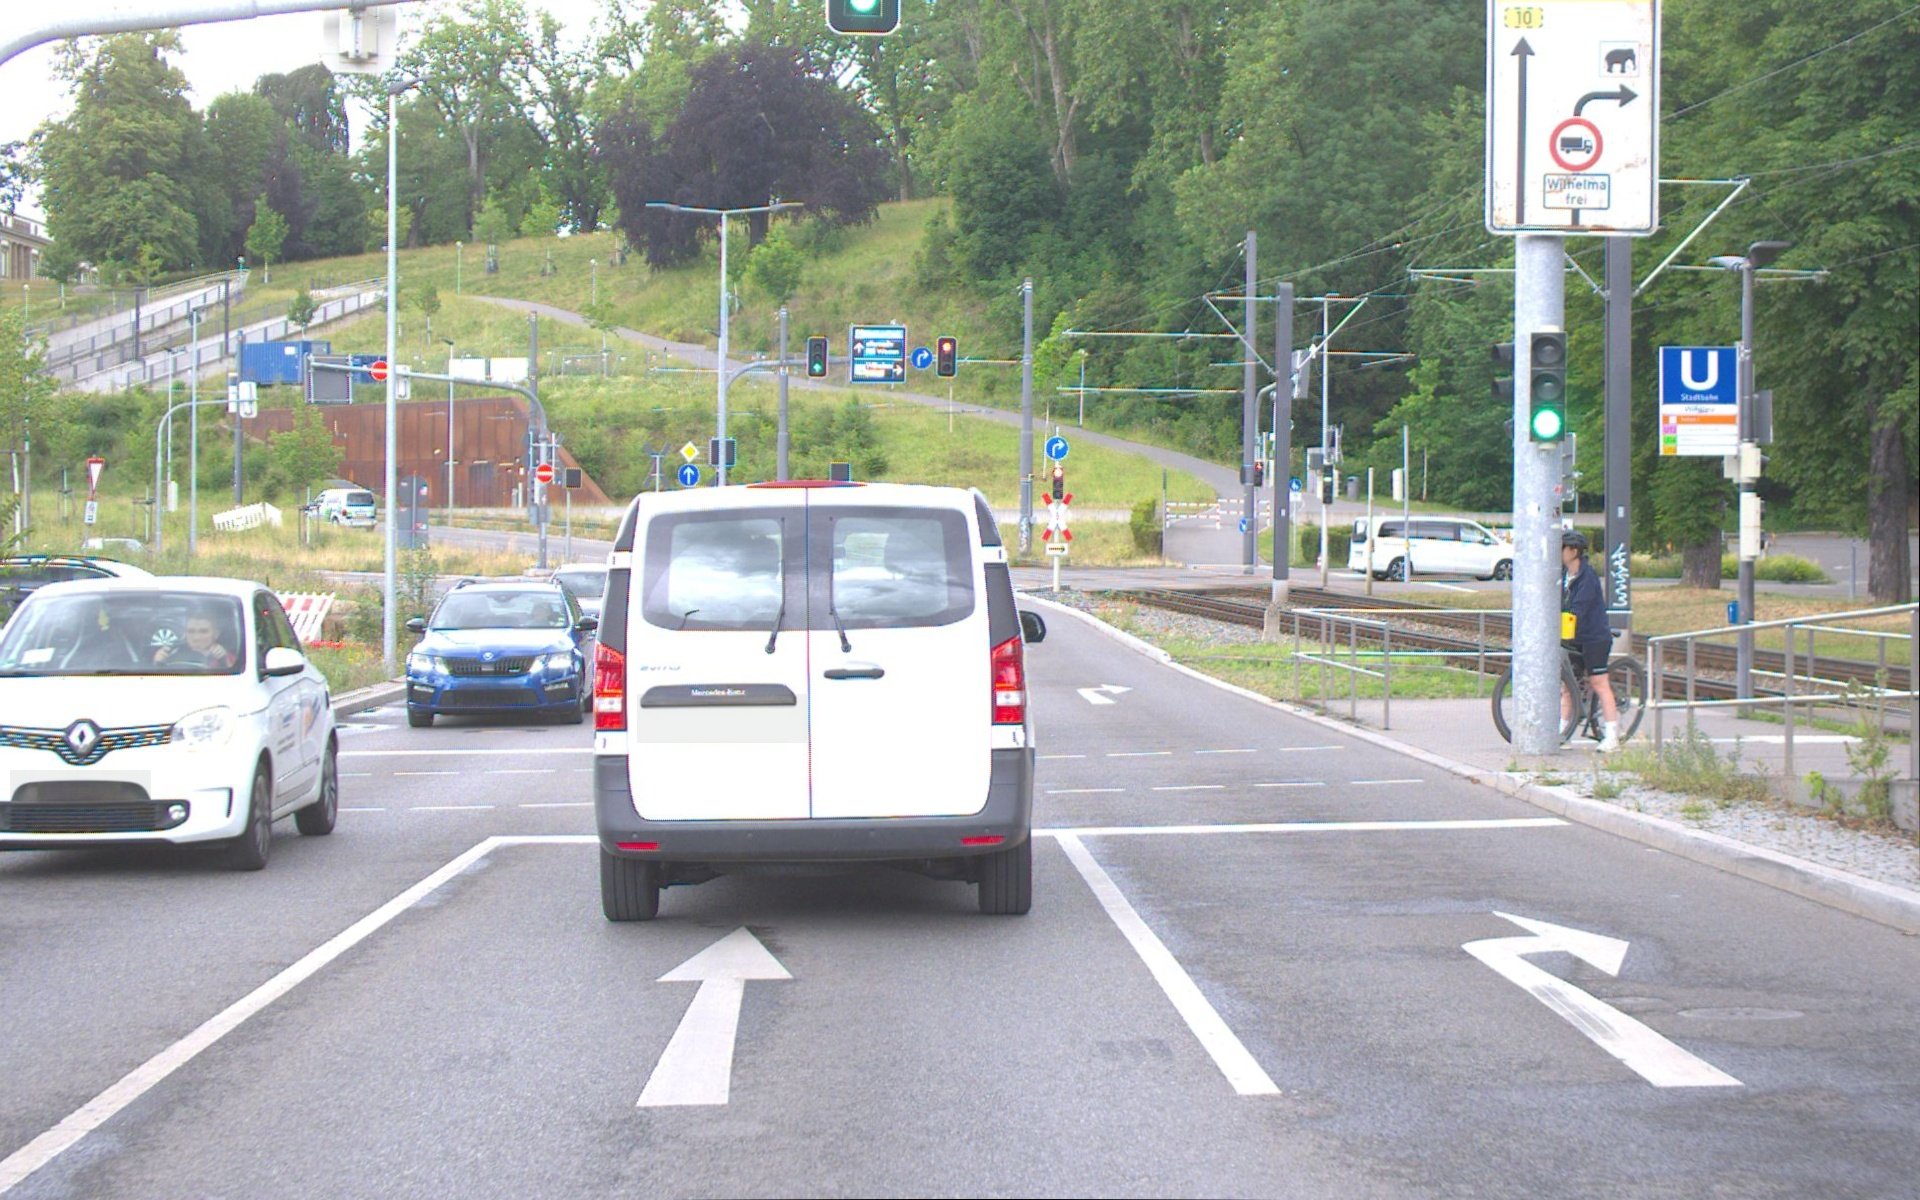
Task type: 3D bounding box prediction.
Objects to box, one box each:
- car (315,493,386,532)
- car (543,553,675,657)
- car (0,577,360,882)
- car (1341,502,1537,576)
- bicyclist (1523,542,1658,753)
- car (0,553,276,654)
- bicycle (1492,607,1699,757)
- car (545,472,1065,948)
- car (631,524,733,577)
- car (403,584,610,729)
[{"bbox_3d":[-26.326,-3.800,148.369,1.937,1.621,4.001,1,1,-26],"label":"car"},{"bbox_3d":[-5.423,0.061,53.520,1.730,1.523,4.445,-1,0,-2],"label":"car"},{"bbox_3d":[-4.449,0.639,19.224,1.591,1.512,4.085,1,0,-2],"label":"car"},{"bbox_3d":[13.840,-1.764,99.470,5.133,2.007,2.208,1,1,-10],"label":"car"},{"bbox_3d":[4.808,0.349,26.227,0.804,1.567,0.618,-1,3,-40],"label":"bicyclist"},{"bbox_3d":[-13.132,0.048,52.867,4.711,1.472,1.999,0,2,9],"label":"car"},{"bbox_3d":[4.874,0.611,26.299,1.679,1.070,0.620,-1,3,-40],"label":"bicycle"},{"bbox_3d":[-0.557,0.415,16.054,1.959,1.897,4.461,-1,1,3],"label":"car"},{"bbox_3d":[-9.083,-1.621,112.137,1.937,1.621,4.001,1,1,-26],"label":"car"},{"bbox_3d":[-4.742,0.556,36.444,1.730,1.416,4.445,-1,0,-2],"label":"car"}]
